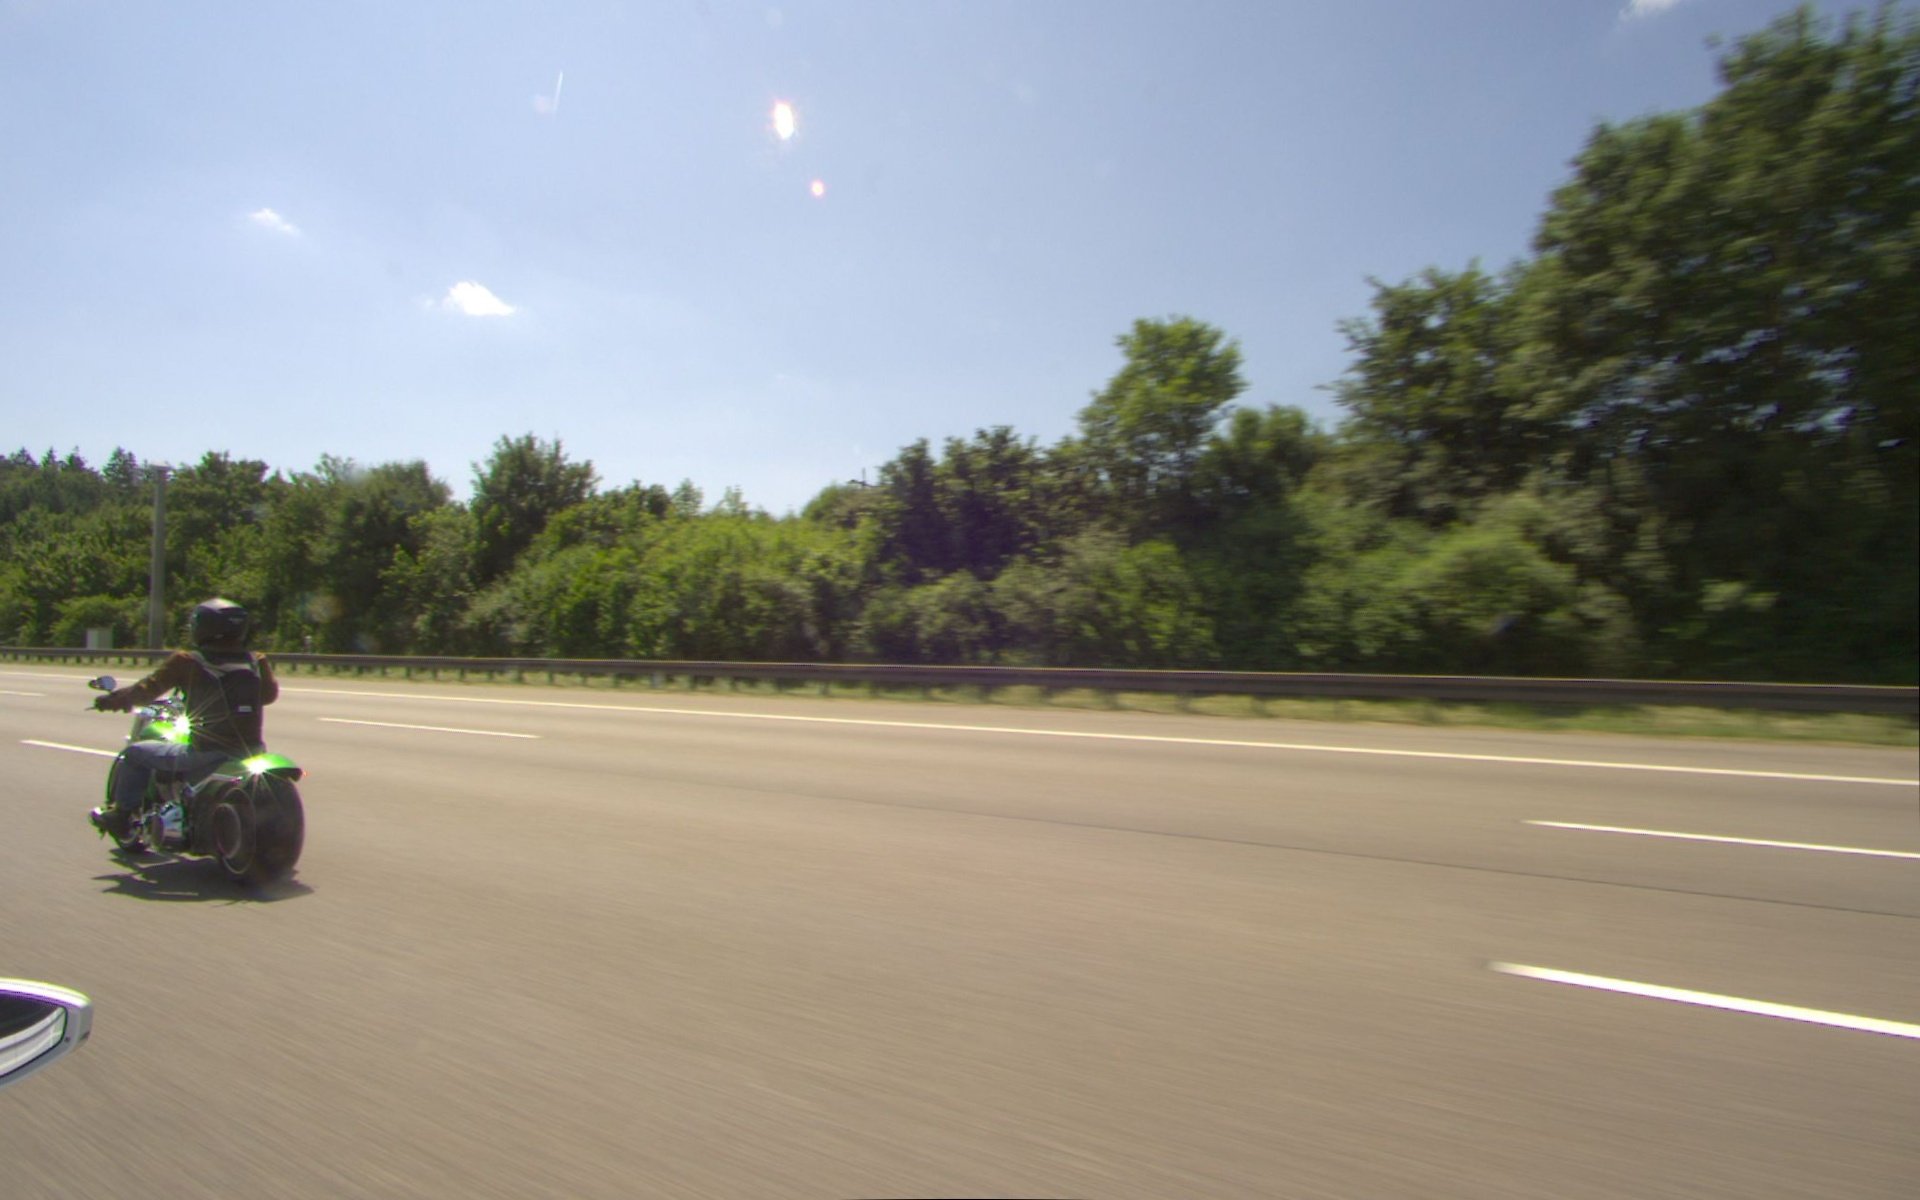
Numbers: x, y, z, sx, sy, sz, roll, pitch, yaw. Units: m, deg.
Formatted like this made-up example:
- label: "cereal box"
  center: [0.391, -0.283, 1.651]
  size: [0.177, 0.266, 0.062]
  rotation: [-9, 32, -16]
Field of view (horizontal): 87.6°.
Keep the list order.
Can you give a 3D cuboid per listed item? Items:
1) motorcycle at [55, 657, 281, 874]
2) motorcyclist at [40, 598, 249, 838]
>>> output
- label: "motorcycle"
  center: [-5.247, 0.986, 6.566]
  size: [2.404, 1.150, 0.534]
  rotation: [-1, -1, 36]
- label: "motorcyclist"
  center: [-5.426, 0.724, 6.671]
  size: [1.010, 1.446, 0.850]
  rotation: [0, -1, 36]
